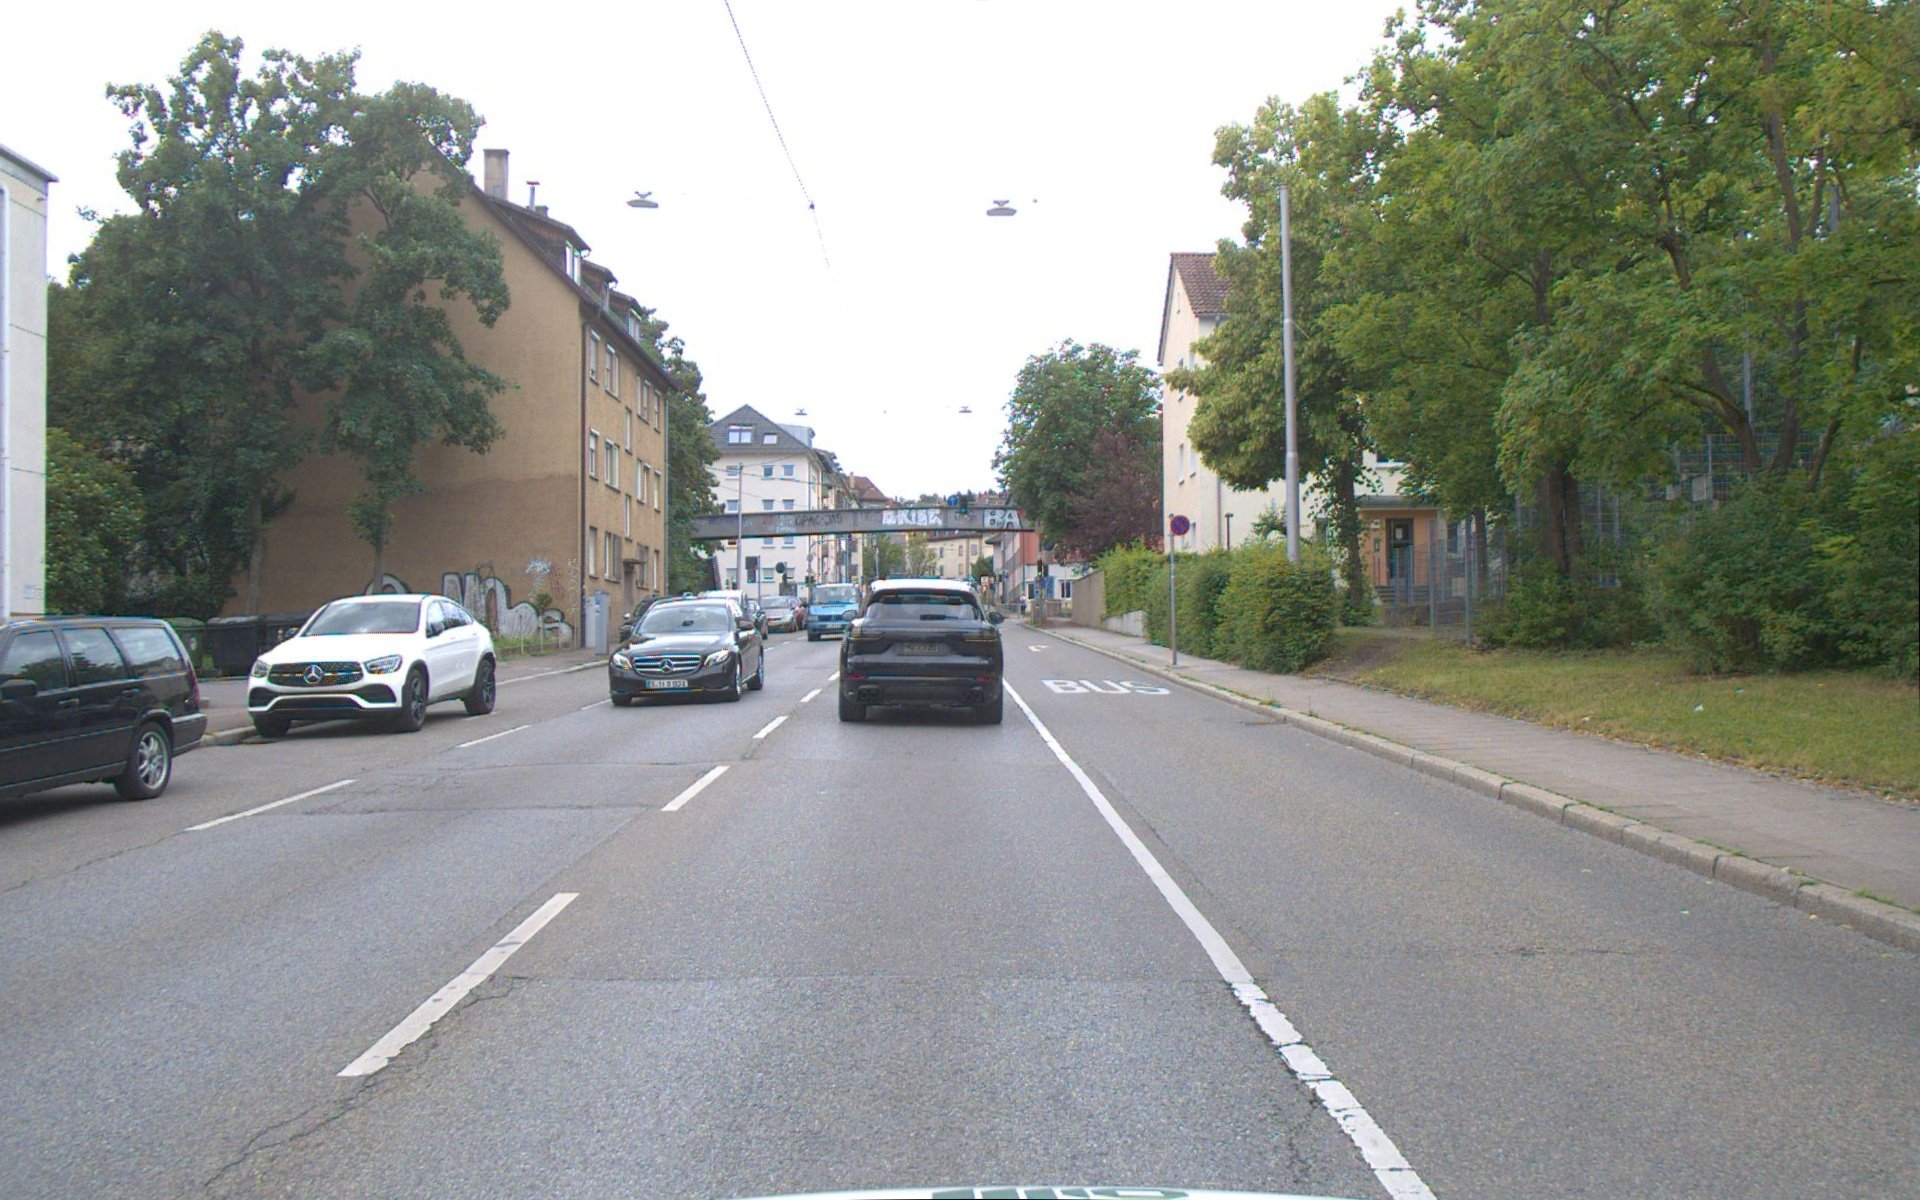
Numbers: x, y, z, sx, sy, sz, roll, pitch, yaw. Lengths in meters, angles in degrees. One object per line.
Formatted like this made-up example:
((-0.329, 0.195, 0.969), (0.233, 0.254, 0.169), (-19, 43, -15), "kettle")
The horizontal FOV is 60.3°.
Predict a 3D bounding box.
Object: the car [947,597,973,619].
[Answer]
((-0.006, 0.551, 111.929), (1.706, 1.424, 4.000), (0, 1, -1), "car")

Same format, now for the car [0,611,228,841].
((-7.159, 0.869, 11.651), (1.760, 1.456, 4.744), (-2, 0, 1), "car")

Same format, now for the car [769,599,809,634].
((-7.993, 0.749, 77.586), (1.502, 1.567, 3.981), (-2, 0, -1), "car")

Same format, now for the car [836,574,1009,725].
((-0.435, 0.527, 20.637), (1.953, 1.691, 4.000), (0, 1, -1), "car")

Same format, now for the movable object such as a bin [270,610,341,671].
((-15.890, 0.965, 40.169), (1.365, 1.453, 0.912), (0, 0, -3), "movable object such as a bin")

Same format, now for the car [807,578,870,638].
((-4.142, 0.242, 57.005), (1.891, 1.934, 4.588), (-1, 0, -1), "car")

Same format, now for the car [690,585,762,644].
((-7.607, 0.455, 54.133), (1.740, 1.784, 4.556), (-2, 0, -1), "car")

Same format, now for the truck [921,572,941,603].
((-3.363, -1.469, 193.368), (2.221, 3.484, 9.876), (-1, 0, -1), "truck")

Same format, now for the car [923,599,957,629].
((-1.018, 0.680, 84.357), (1.706, 1.424, 4.000), (0, 1, -1), "car")

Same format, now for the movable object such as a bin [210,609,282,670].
((-17.290, 0.959, 40.082), (1.365, 1.453, 0.912), (0, 0, -3), "movable object such as a bin")

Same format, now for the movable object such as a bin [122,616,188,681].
((-18.670, 1.114, 38.394), (0.892, 1.453, 1.396), (0, 0, -3), "movable object such as a bin")

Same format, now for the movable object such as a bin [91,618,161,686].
((-18.614, 1.150, 36.947), (0.892, 1.453, 1.396), (0, 0, -3), "movable object such as a bin")

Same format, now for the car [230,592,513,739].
((-7.232, 0.720, 20.896), (1.876, 1.605, 4.699), (-1, 0, 0), "car")

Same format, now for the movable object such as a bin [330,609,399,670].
((-14.481, 0.963, 40.248), (1.365, 1.453, 0.912), (0, 0, -3), "movable object such as a bin")

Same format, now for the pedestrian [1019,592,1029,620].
((4.244, 0.381, 110.046), (0.639, 1.823, 0.714), (0, 0, -3), "pedestrian")

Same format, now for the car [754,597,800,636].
((-8.016, 0.701, 72.844), (1.711, 1.596, 3.906), (-2, 0, -3), "car")

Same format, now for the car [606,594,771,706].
((-3.990, 0.676, 25.006), (1.741, 1.492, 4.499), (-1, 0, 0), "car")

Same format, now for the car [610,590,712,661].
((-7.617, 0.614, 42.516), (1.746, 1.637, 4.264), (-3, 0, 0), "car")

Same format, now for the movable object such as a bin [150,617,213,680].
((-18.738, 1.156, 39.824), (0.892, 1.453, 1.396), (0, 0, -3), "movable object such as a bin")

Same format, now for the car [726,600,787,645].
((-7.251, 0.774, 59.160), (1.710, 1.464, 3.912), (-2, 0, -1), "car")
